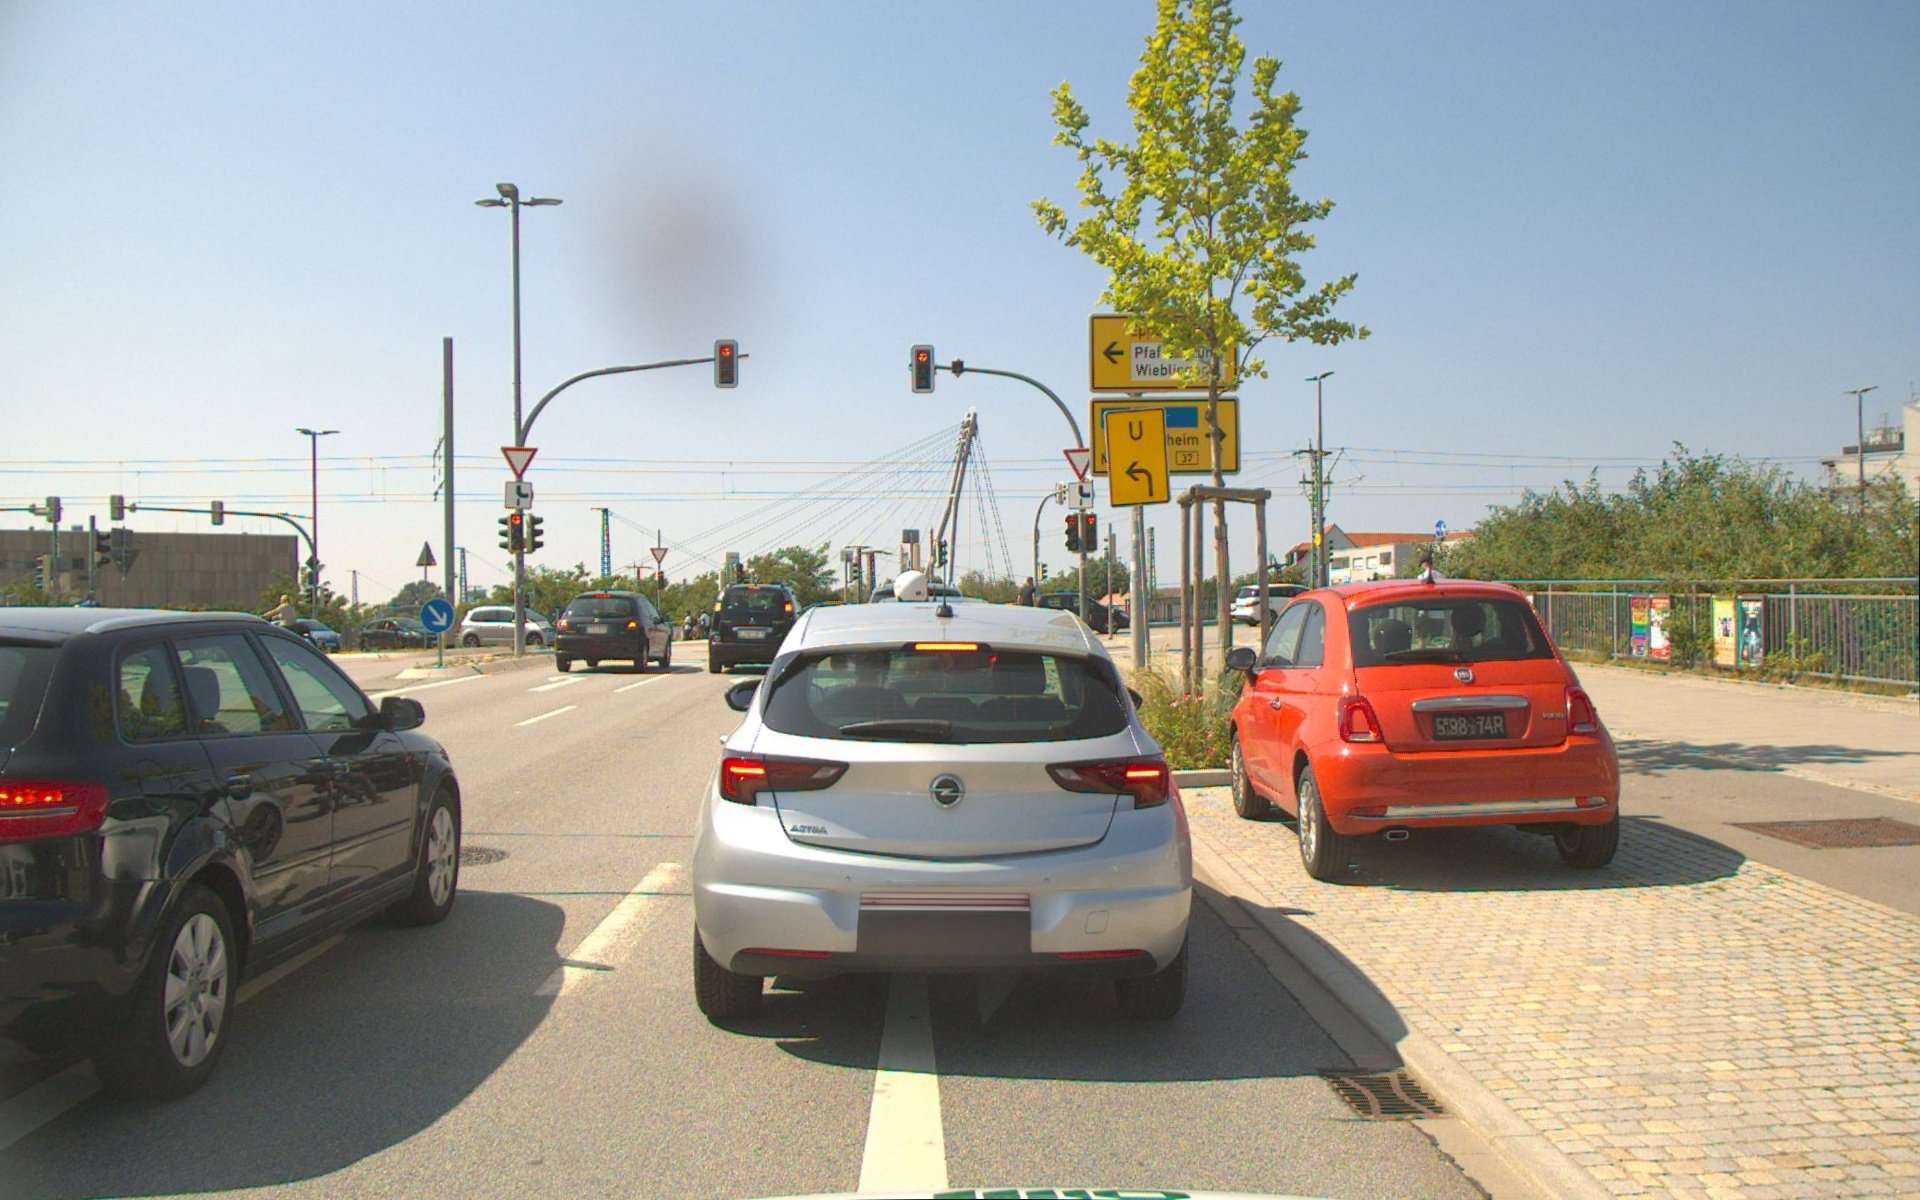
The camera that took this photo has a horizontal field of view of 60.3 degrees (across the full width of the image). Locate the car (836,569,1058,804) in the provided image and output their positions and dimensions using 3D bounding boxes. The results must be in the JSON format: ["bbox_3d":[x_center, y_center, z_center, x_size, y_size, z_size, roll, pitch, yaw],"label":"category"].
[{"bbox_3d":[-0.142,0.666,14.123,1.602,1.703,3.743,1,-1,-2],"label":"car"}]

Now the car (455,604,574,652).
[{"bbox_3d":[-16.325,1.009,60.634,3.734,1.657,1.858,1,-1,12],"label":"car"}]

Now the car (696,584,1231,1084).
[{"bbox_3d":[-0.035,0.733,7.284,1.656,1.546,4.269,0,0,-1],"label":"car"}]

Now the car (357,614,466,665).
[{"bbox_3d":[-22.763,1.612,68.714,3.904,2.049,2.000,0,-1,20],"label":"car"}]

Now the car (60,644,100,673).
[{"bbox_3d":[-49.456,3.278,92.921,1.663,1.481,3.955,2,-1,-32],"label":"car"}]

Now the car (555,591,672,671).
[{"bbox_3d":[-6.395,0.564,30.807,1.555,1.419,3.338,0,-1,-2],"label":"car"}]

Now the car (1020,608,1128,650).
[{"bbox_3d":[4.130,1.061,60.417,3.701,1.414,1.664,1,-1,-5],"label":"car"}]

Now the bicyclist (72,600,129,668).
[{"bbox_3d":[-20.361,0.801,39.174,0.806,1.587,0.862,1,-1,26],"label":"bicyclist"}]

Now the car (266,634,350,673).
[{"bbox_3d":[-25.733,2.093,65.226,3.088,1.464,1.581,1,-1,33],"label":"car"}]

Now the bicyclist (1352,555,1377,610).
[{"bbox_3d":[14.360,-0.620,58.716,0.625,1.920,0.593,-1,0,40],"label":"bicyclist"}]

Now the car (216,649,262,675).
[{"bbox_3d":[-41.077,3.520,94.226,1.510,1.327,3.175,2,-1,-41],"label":"car"}]

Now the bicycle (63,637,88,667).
[{"bbox_3d":[-22.619,1.326,42.302,0.508,0.704,2.233,0,0,-27],"label":"bicycle"}]

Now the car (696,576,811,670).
[{"bbox_3d":[-3.841,0.432,31.366,1.767,1.650,3.915,0,-1,-1],"label":"car"}]

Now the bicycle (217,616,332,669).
[{"bbox_3d":[-15.717,0.968,37.959,2.310,1.147,0.677,1,-1,-2],"label":"bicycle"}]

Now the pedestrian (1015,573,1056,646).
[{"bbox_3d":[1.983,0.259,43.424,0.741,1.896,0.737,0,-1,44],"label":"pedestrian"}]

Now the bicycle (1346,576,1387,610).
[{"bbox_3d":[14.428,-0.247,58.668,0.545,1.198,2.077,-1,0,39],"label":"bicycle"}]

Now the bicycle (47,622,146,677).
[{"bbox_3d":[-20.481,1.185,39.218,2.476,1.153,0.728,-3,2,28],"label":"bicycle"}]

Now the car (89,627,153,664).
[{"bbox_3d":[-42.894,2.297,84.568,1.705,1.771,4.142,2,-1,-45],"label":"car"}]

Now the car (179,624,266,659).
[{"bbox_3d":[-33.342,1.860,74.759,4.406,1.481,1.988,1,-1,42],"label":"car"}]

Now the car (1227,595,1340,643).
[{"bbox_3d":[12.782,0.761,65.463,3.920,1.815,1.992,1,-1,-15],"label":"car"}]

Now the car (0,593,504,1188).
[{"bbox_3d":[-3.041,0.711,5.995,1.671,1.437,3.999,1,-1,-1],"label":"car"}]

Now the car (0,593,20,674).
[{"bbox_3d":[-25.659,0.850,43.388,1.652,2.049,3.961,2,-1,-29],"label":"car"}]

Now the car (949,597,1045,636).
[{"bbox_3d":[1.717,0.772,76.894,4.122,1.674,1.828,1,-1,-12],"label":"car"}]

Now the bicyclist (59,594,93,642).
[{"bbox_3d":[-22.620,0.461,42.311,0.721,1.196,0.652,2,-1,-31],"label":"bicyclist"}]

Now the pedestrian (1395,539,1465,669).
[{"bbox_3d":[6.884,0.059,24.274,0.743,1.862,0.884,1,-1,-1],"label":"pedestrian"}]

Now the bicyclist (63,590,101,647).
[{"bbox_3d":[-24.040,0.504,45.297,0.830,1.528,0.654,2,-1,-25],"label":"bicyclist"}]

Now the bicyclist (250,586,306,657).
[{"bbox_3d":[-15.656,0.500,37.978,0.926,1.596,0.822,1,-1,-2],"label":"bicyclist"}]

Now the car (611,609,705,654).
[{"bbox_3d":[-14.275,1.471,78.193,3.902,2.049,2.002,0,-1,12],"label":"car"}]

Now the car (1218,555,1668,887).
[{"bbox_3d":[2.666,0.585,10.049,1.635,1.566,3.917,-2,0,1],"label":"car"}]

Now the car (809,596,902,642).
[{"bbox_3d":[-3.981,0.716,62.753,3.438,1.669,1.798,1,-1,-5],"label":"car"}]
